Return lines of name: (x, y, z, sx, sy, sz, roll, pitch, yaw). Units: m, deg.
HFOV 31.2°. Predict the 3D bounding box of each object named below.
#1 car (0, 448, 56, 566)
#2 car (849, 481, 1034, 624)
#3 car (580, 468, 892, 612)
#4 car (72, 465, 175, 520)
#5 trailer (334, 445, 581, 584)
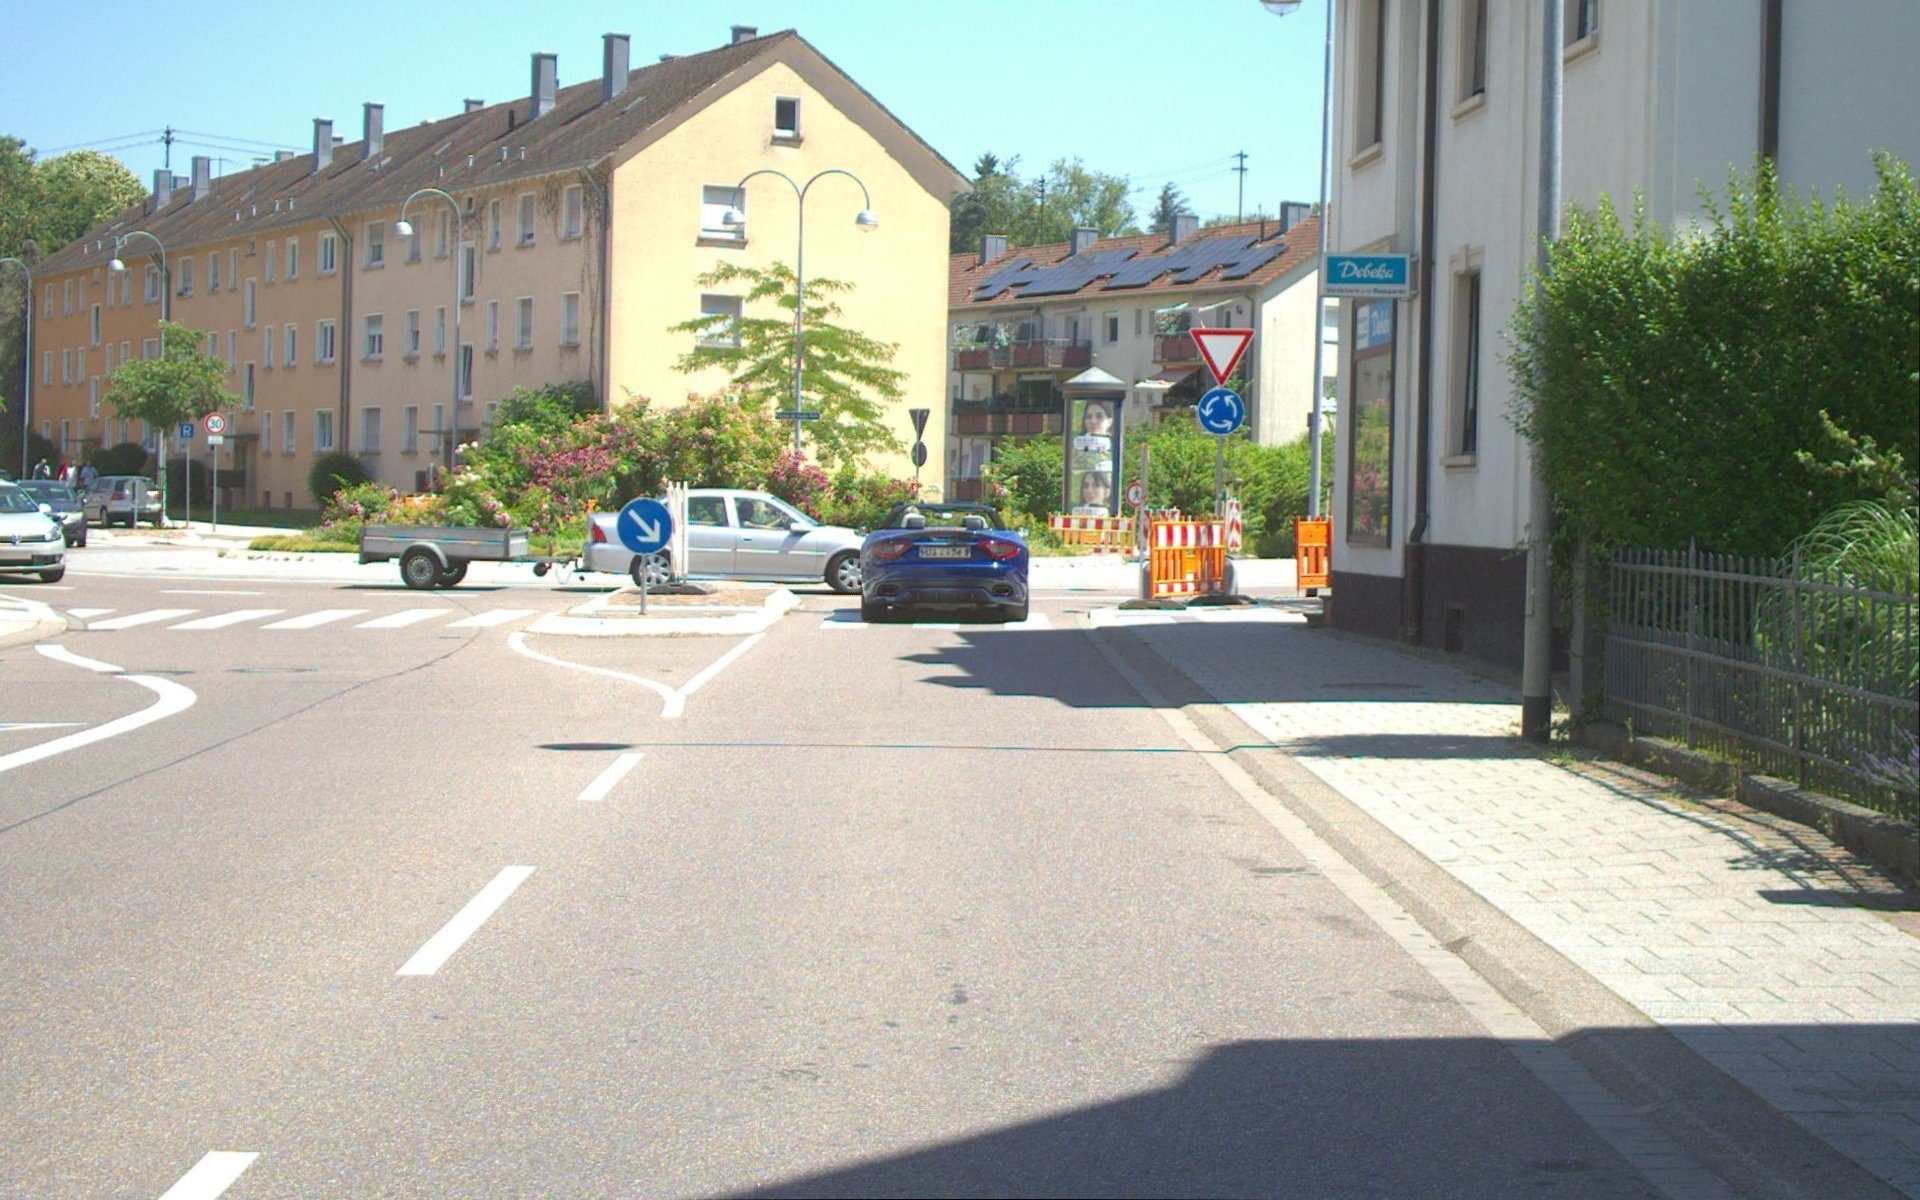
car: (-15.006, -1.145, 47.821, 4.378, 1.524, 1.845, -5, 5, -6)
car: (-0.271, -0.536, 39.854, 1.870, 1.525, 4.507, 1, 0, -3)
car: (-3.091, -0.825, 47.019, 4.114, 1.741, 1.788, 2, 1, -6)
car: (-24.365, -3.144, 100.032, 1.812, 1.495, 4.001, 2, 1, -30)
trailer: (-6.774, -1.157, 46.566, 3.186, 1.711, 1.757, 2, 1, -6)
